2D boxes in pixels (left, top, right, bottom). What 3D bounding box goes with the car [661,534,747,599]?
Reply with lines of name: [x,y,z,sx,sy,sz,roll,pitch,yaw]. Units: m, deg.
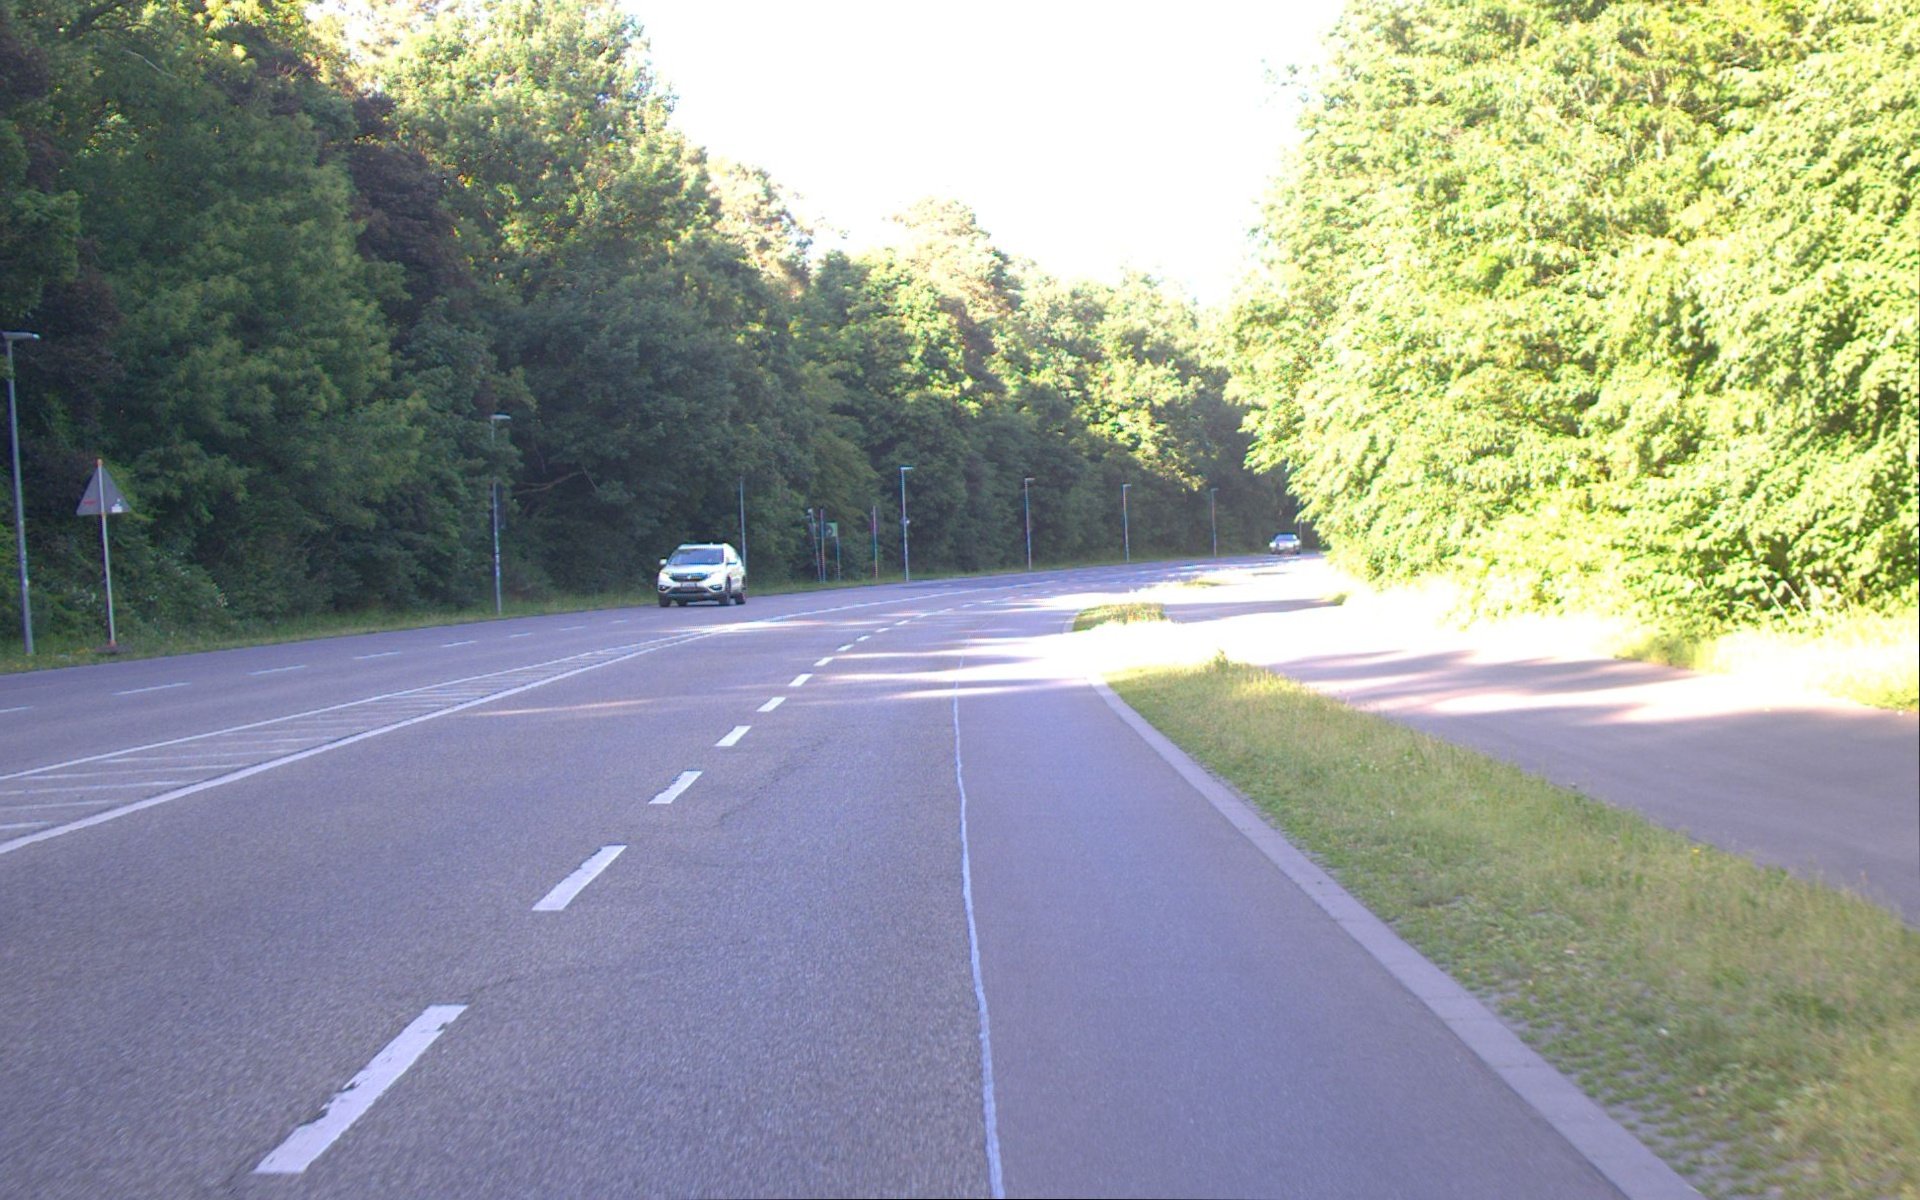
car: [-6.795,-0.911,91.642,1.908,1.658,4.734,-1,1,0]
